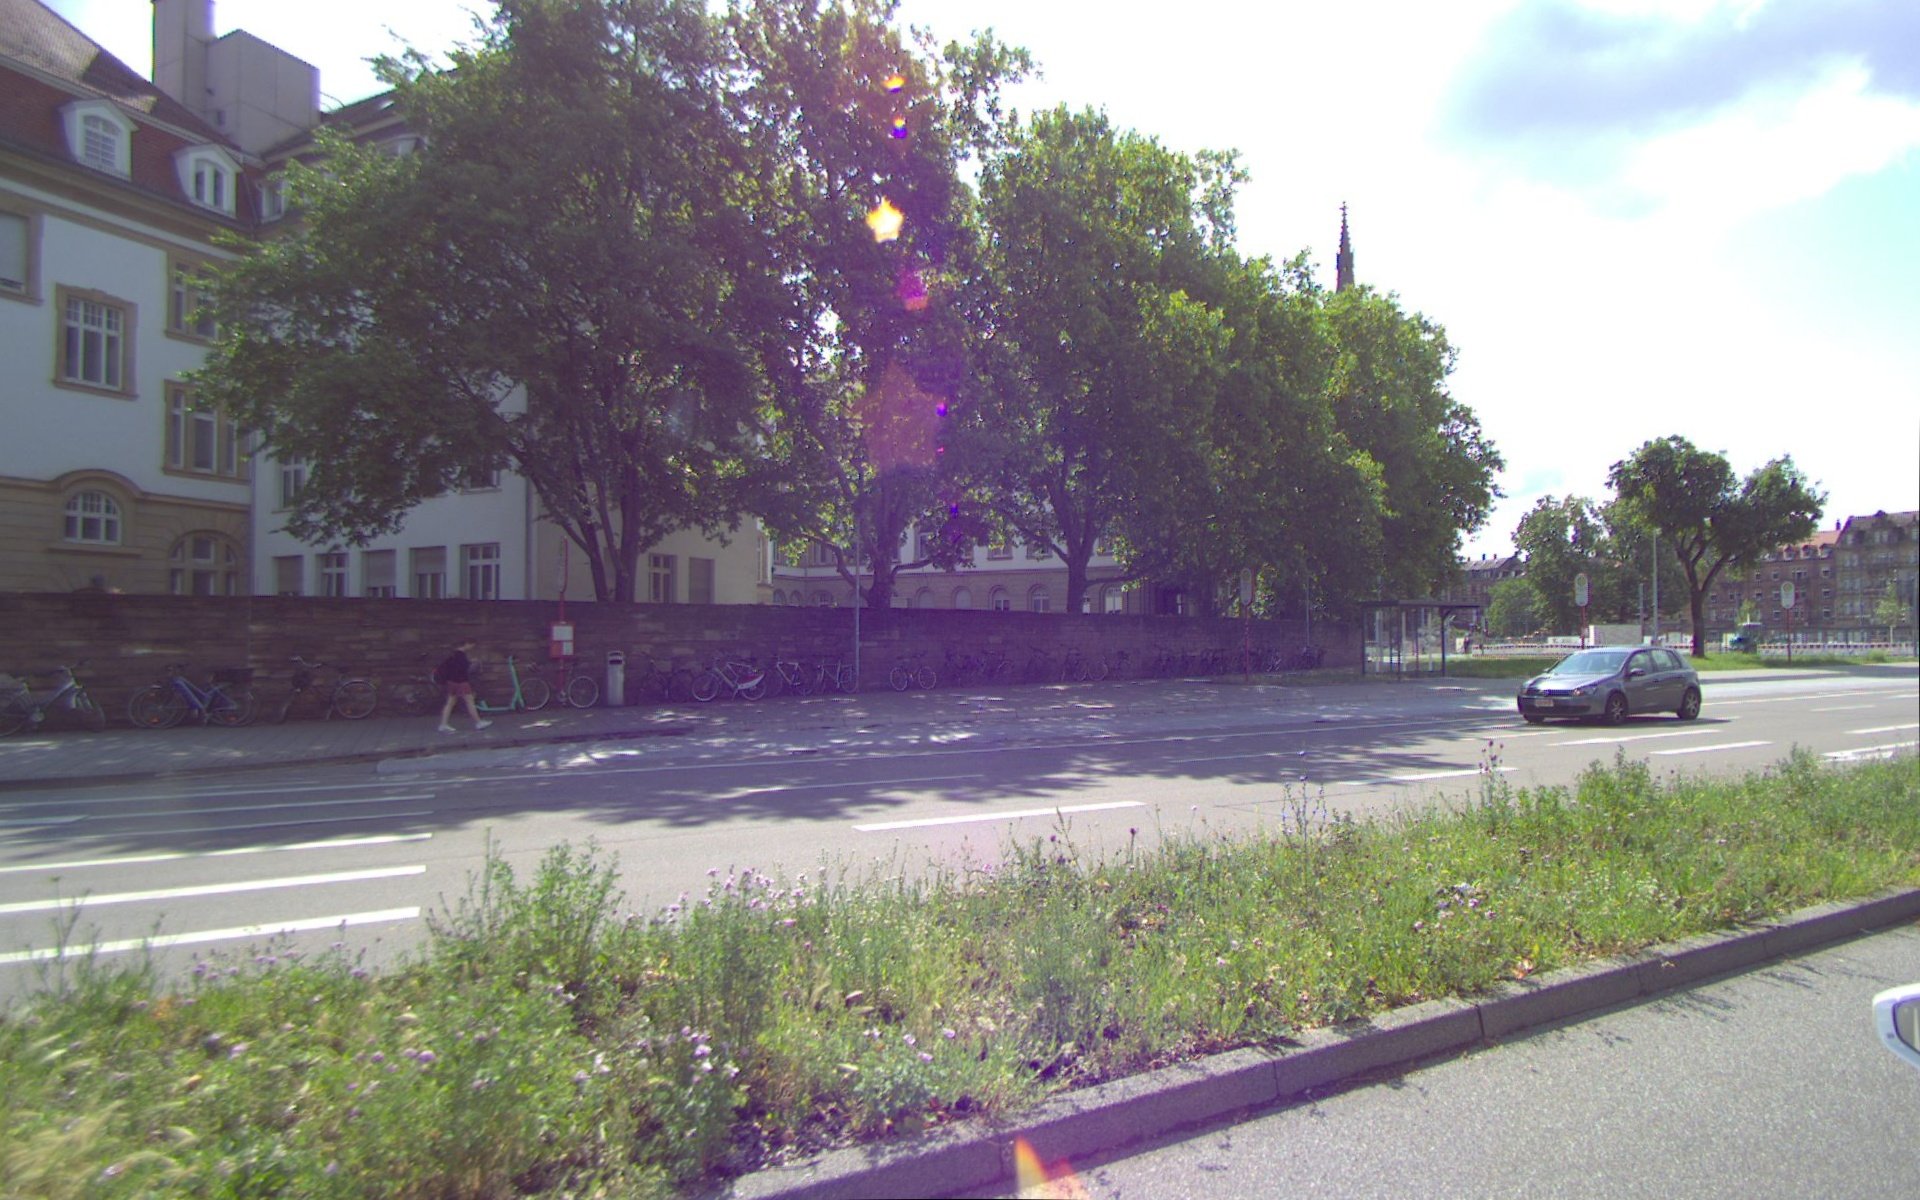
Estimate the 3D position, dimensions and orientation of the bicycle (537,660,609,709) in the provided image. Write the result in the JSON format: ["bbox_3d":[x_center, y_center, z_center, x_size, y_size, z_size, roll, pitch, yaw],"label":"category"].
[{"bbox_3d":[-8.161,1.773,21.233,1.392,0.968,0.363,2,-2,-44],"label":"bicycle"}]

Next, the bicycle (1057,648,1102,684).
[{"bbox_3d":[3.831,2.102,32.165,0.575,1.087,1.747,-2,-2,40],"label":"bicycle"}]

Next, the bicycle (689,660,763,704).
[{"bbox_3d":[-5.300,1.850,22.762,1.599,0.968,0.366,0,-2,-19],"label":"bicycle"}]

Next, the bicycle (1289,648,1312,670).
[{"bbox_3d":[15.947,2.756,47.012,0.465,1.024,1.449,-2,-2,41],"label":"bicycle"}]

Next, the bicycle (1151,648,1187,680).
[{"bbox_3d":[7.568,2.298,36.358,0.575,1.087,1.623,-2,-2,40],"label":"bicycle"}]

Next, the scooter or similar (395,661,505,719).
[{"bbox_3d":[-10.022,1.748,19.786,1.864,1.062,0.576,1,-2,-38],"label":"scooter or similar"}]

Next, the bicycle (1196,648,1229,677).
[{"bbox_3d":[9.802,2.403,38.999,0.575,1.087,1.623,-2,-2,40],"label":"bicycle"}]

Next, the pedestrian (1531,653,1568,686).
[{"bbox_3d":[18.163,2.121,30.950,0.734,0.975,0.691,1,-2,-29],"label":"pedestrian"}]

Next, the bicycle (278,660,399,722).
[{"bbox_3d":[-11.516,1.660,18.639,1.864,1.062,0.576,1,-2,-38],"label":"bicycle"}]

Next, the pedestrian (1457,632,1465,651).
[{"bbox_3d":[49.834,4.098,99.897,0.492,1.874,0.527,1,-2,-20],"label":"pedestrian"}]

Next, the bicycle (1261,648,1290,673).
[{"bbox_3d":[13.868,2.654,44.193,0.465,1.024,1.954,-2,-2,41],"label":"bicycle"}]

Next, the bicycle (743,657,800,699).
[{"bbox_3d":[-4.566,1.877,24.385,1.392,0.968,0.363,2,-2,-44],"label":"bicycle"}]

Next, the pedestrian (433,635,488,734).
[{"bbox_3d":[-8.511,1.410,17.105,0.737,1.631,0.652,1,-1,-36],"label":"pedestrian"}]

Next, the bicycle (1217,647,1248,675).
[{"bbox_3d":[10.976,2.438,40.466,0.575,1.087,1.623,-2,-2,40],"label":"bicycle"}]

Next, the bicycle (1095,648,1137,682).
[{"bbox_3d":[5.263,2.160,33.741,0.575,1.087,1.747,-2,-2,40],"label":"bicycle"}]

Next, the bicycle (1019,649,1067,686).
[{"bbox_3d":[2.565,2.053,30.846,0.575,1.087,1.747,-2,-2,40],"label":"bicycle"}]

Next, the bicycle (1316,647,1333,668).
[{"bbox_3d":[18.098,2.866,49.904,0.348,1.024,1.248,-2,-2,41],"label":"bicycle"}]

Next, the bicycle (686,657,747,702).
[{"bbox_3d":[-5.660,1.840,23.421,1.392,0.968,0.363,2,-2,-44],"label":"bicycle"}]

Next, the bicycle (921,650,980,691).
[{"bbox_3d":[-0.261,1.943,28.065,1.744,1.087,0.576,2,-2,-44],"label":"bicycle"}]

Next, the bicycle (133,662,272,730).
[{"bbox_3d":[-12.897,1.618,17.165,1.864,1.062,0.370,1,-2,-38],"label":"bicycle"}]

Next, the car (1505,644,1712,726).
[{"bbox_3d":[12.945,1.638,20.015,4.094,1.463,1.694,1,-3,-29],"label":"car"}]

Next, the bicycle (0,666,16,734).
[{"bbox_3d":[-15.781,1.564,15.396,1.864,1.062,0.367,1,-2,-38],"label":"bicycle"}]

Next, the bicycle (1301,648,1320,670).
[{"bbox_3d":[16.888,2.832,48.353,0.386,1.024,1.363,-2,-2,41],"label":"bicycle"}]

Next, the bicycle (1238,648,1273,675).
[{"bbox_3d":[12.355,2.552,41.953,0.576,1.087,1.858,-2,-2,45],"label":"bicycle"}]

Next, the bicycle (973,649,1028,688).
[{"bbox_3d":[1.202,1.991,29.558,0.576,1.087,1.744,-2,-2,45],"label":"bicycle"}]

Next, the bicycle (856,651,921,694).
[{"bbox_3d":[-1.863,1.887,26.421,1.744,1.087,0.576,2,-2,-44],"label":"bicycle"}]

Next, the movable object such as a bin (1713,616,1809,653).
[{"bbox_3d":[63.578,2.752,79.798,5.431,2.922,2.289,-1,-2,17],"label":"movable object such as a bin"}]

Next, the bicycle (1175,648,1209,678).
[{"bbox_3d":[8.700,2.350,37.627,0.575,1.087,1.623,-2,-2,40],"label":"bicycle"}]

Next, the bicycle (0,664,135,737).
[{"bbox_3d":[-14.426,1.584,16.012,0.584,1.062,1.874,-2,-2,37],"label":"bicycle"}]

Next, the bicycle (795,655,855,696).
[{"bbox_3d":[-3.399,1.897,25.370,1.616,0.968,0.366,2,-2,-44],"label":"bicycle"}]

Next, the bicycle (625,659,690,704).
[{"bbox_3d":[-6.767,1.814,22.524,1.392,0.968,0.363,2,-2,-44],"label":"bicycle"}]

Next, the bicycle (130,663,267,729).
[{"bbox_3d":[-13.180,1.645,17.451,1.864,1.062,0.391,1,-2,-38],"label":"bicycle"}]
